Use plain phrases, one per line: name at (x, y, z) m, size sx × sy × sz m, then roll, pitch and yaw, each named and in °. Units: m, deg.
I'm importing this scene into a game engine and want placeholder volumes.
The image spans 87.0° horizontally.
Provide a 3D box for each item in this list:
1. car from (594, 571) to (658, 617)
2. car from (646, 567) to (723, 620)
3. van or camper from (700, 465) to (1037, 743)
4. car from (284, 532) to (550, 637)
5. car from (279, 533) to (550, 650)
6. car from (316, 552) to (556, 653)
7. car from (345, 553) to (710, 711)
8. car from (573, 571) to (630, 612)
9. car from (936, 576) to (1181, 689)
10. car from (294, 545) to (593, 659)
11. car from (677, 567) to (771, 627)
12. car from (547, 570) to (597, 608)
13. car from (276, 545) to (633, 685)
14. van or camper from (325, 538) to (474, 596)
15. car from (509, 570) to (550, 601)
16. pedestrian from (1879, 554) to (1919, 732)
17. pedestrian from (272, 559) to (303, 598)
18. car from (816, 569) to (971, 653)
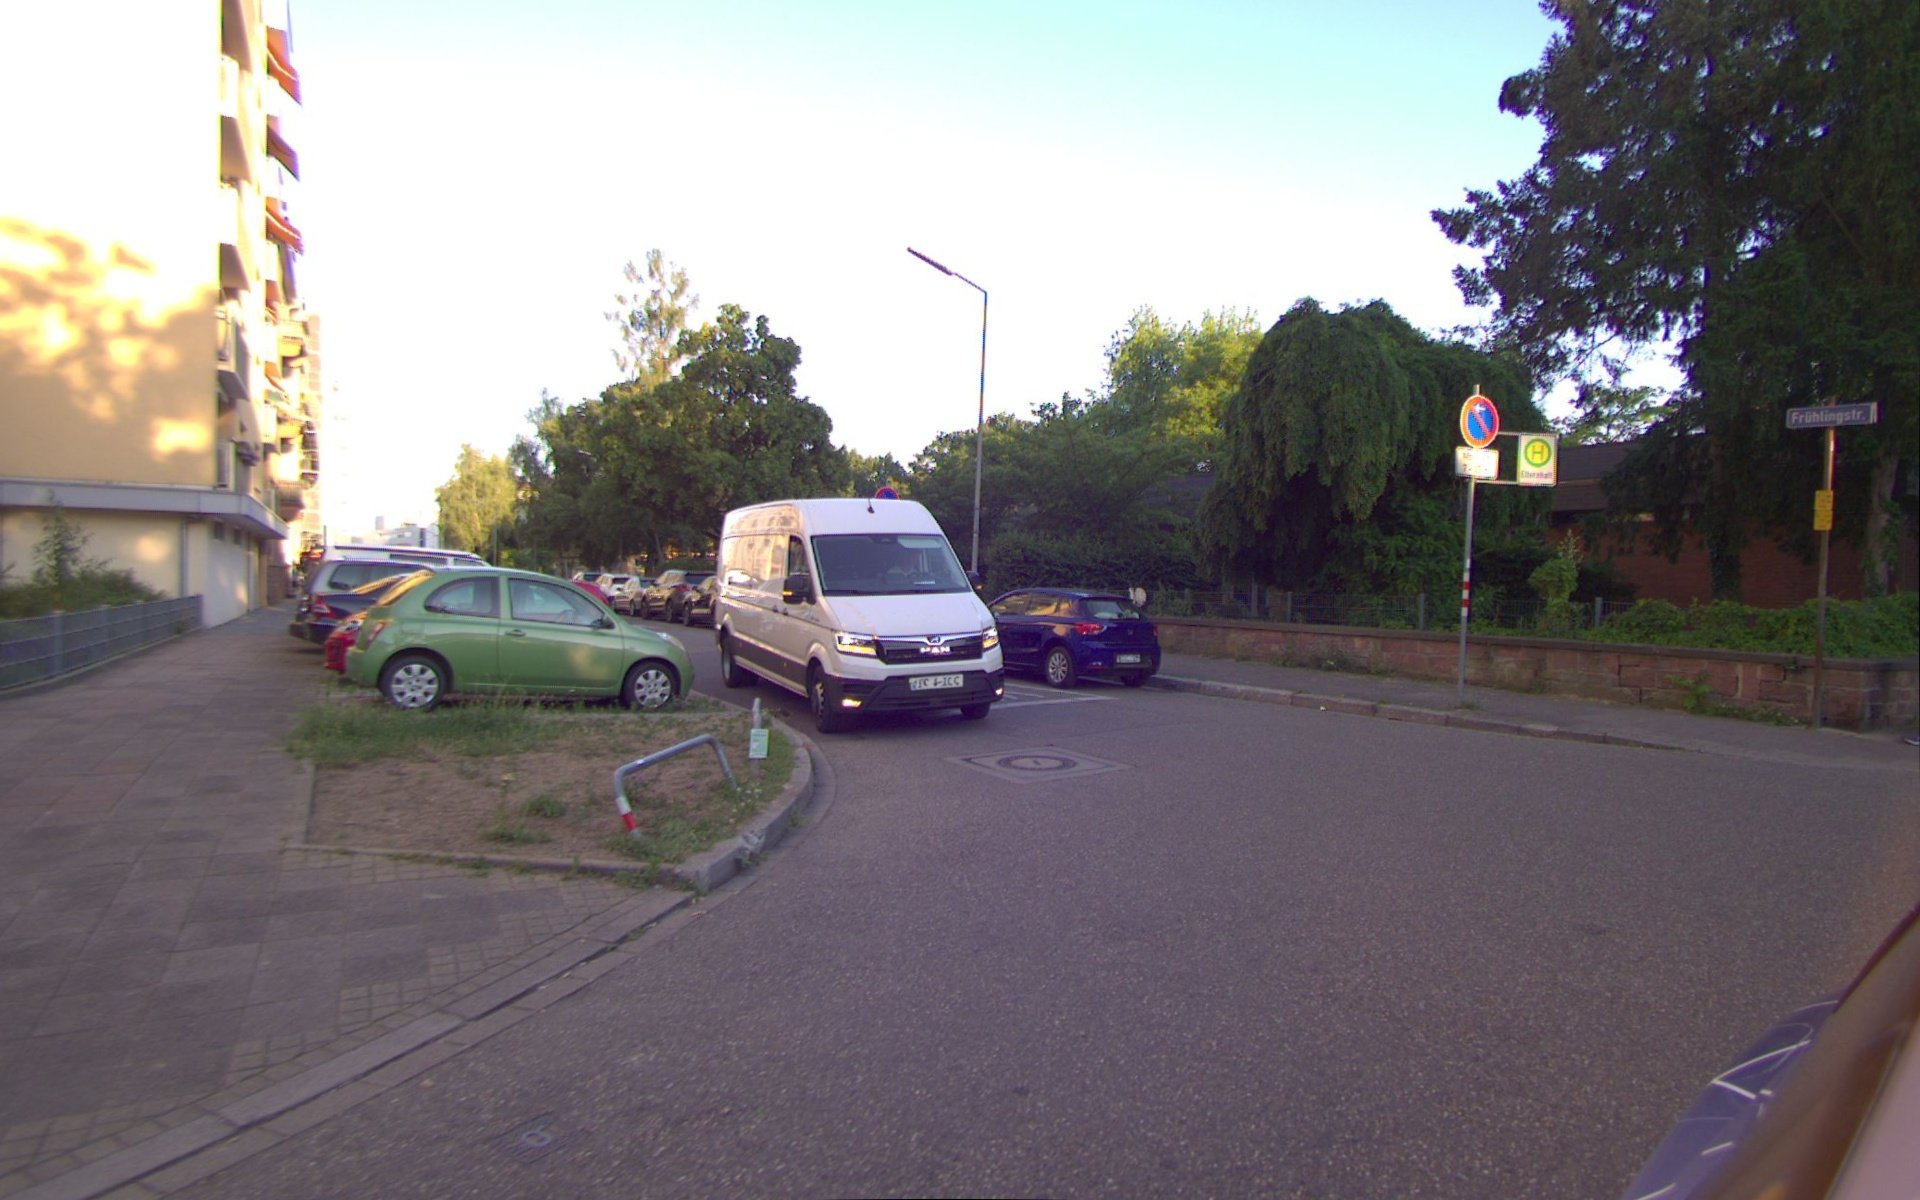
car at (-12.394, -0.248, 37.452) m, size 1.504 × 1.605 × 2.956 m, roll 1°, pitch 1°, yaw -33°
car at (-8.887, -0.238, 32.541) m, size 1.504 × 1.605 × 2.956 m, roll 1°, pitch 1°, yaw -33°
van or camper at (-1.621, -0.092, 13.084) m, size 2.053 × 2.621 × 6.884 m, roll -3°, pitch 2°, yaw -25°
car at (-11.958, -0.311, 22.522) m, size 4.976 × 2.111 × 2.002 m, roll 1°, pitch 1°, yaw -31°
car at (-9.533, -0.130, 17.793) m, size 3.977 × 1.836 × 1.829 m, roll 1°, pitch 1°, yaw -36°
car at (-10.465, 0.039, 20.300) m, size 4.034 × 1.836 × 1.829 m, roll 1°, pitch 1°, yaw -36°
car at (-4.823, 0.378, 11.417) m, size 3.501 × 1.532 × 1.628 m, roll 3°, pitch -1°, yaw -33°
car at (-14.642, -0.365, 41.217) m, size 1.504 × 1.605 × 2.956 m, roll 1°, pitch 1°, yaw -33°
car at (1.408, 0.410, 15.790) m, size 1.691 × 1.503 × 3.789 m, roll 1°, pitch 1°, yaw -36°
car at (-8.036, 0.022, 15.861) m, size 3.924 × 1.571 × 1.829 m, roll 1°, pitch 1°, yaw -36°
car at (-6.794, -0.130, 28.889) m, size 1.504 × 1.605 × 3.404 m, roll 1°, pitch 1°, yaw -33°
car at (-17.531, -0.509, 45.643) m, size 1.504 × 1.605 × 2.956 m, roll 1°, pitch 1°, yaw -33°
car at (-6.523, 0.166, 13.201) m, size 3.924 × 1.571 × 1.829 m, roll 1°, pitch 1°, yaw -36°
van or camper at (-26.508, -1.532, 47.972) m, size 5.983 × 2.521 × 2.198 m, roll 1°, pitch 1°, yaw -32°
car at (-23.295, -0.801, 54.736) m, size 1.504 × 1.605 × 2.956 m, roll 1°, pitch 1°, yaw -33°
pedestrian at (9.978, 0.458, 10.025) m, size 0.807 × 1.746 × 0.865 m, roll 1°, pitch 5°, yaw -17°
pedestrian at (-32.730, -1.067, 49.223) m, size 1.145 × 1.797 × 0.872 m, roll -3°, pitch 5°, yaw -38°
car at (-1.405, 0.160, 20.146) m, size 1.504 × 1.503 × 3.513 m, roll 1°, pitch 1°, yaw -33°
